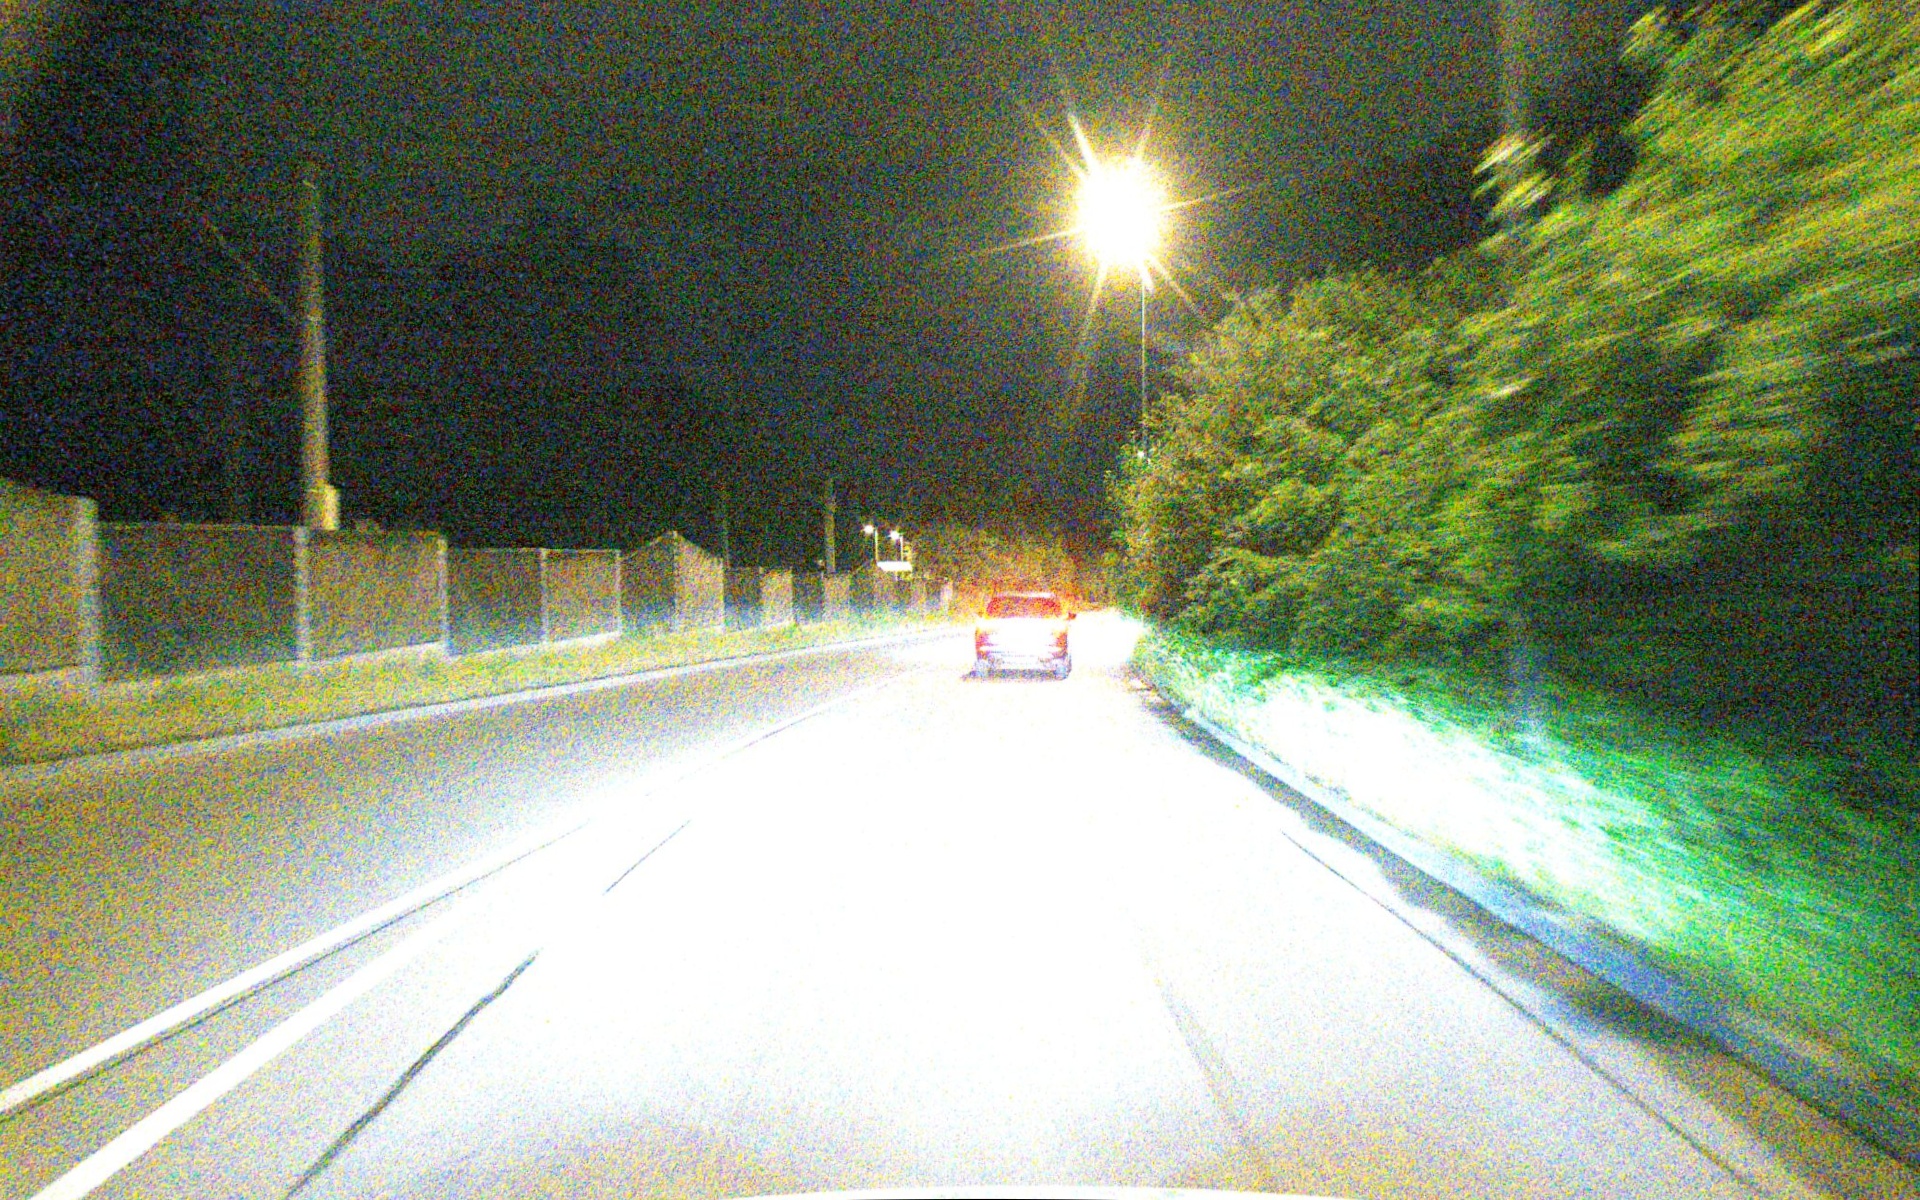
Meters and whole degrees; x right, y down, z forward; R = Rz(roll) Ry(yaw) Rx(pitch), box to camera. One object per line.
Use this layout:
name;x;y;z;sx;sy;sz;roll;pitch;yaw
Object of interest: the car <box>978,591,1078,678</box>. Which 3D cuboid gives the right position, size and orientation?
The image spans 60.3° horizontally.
car;1.377;0.627;32.226;1.776;1.601;3.946;0;0;5
